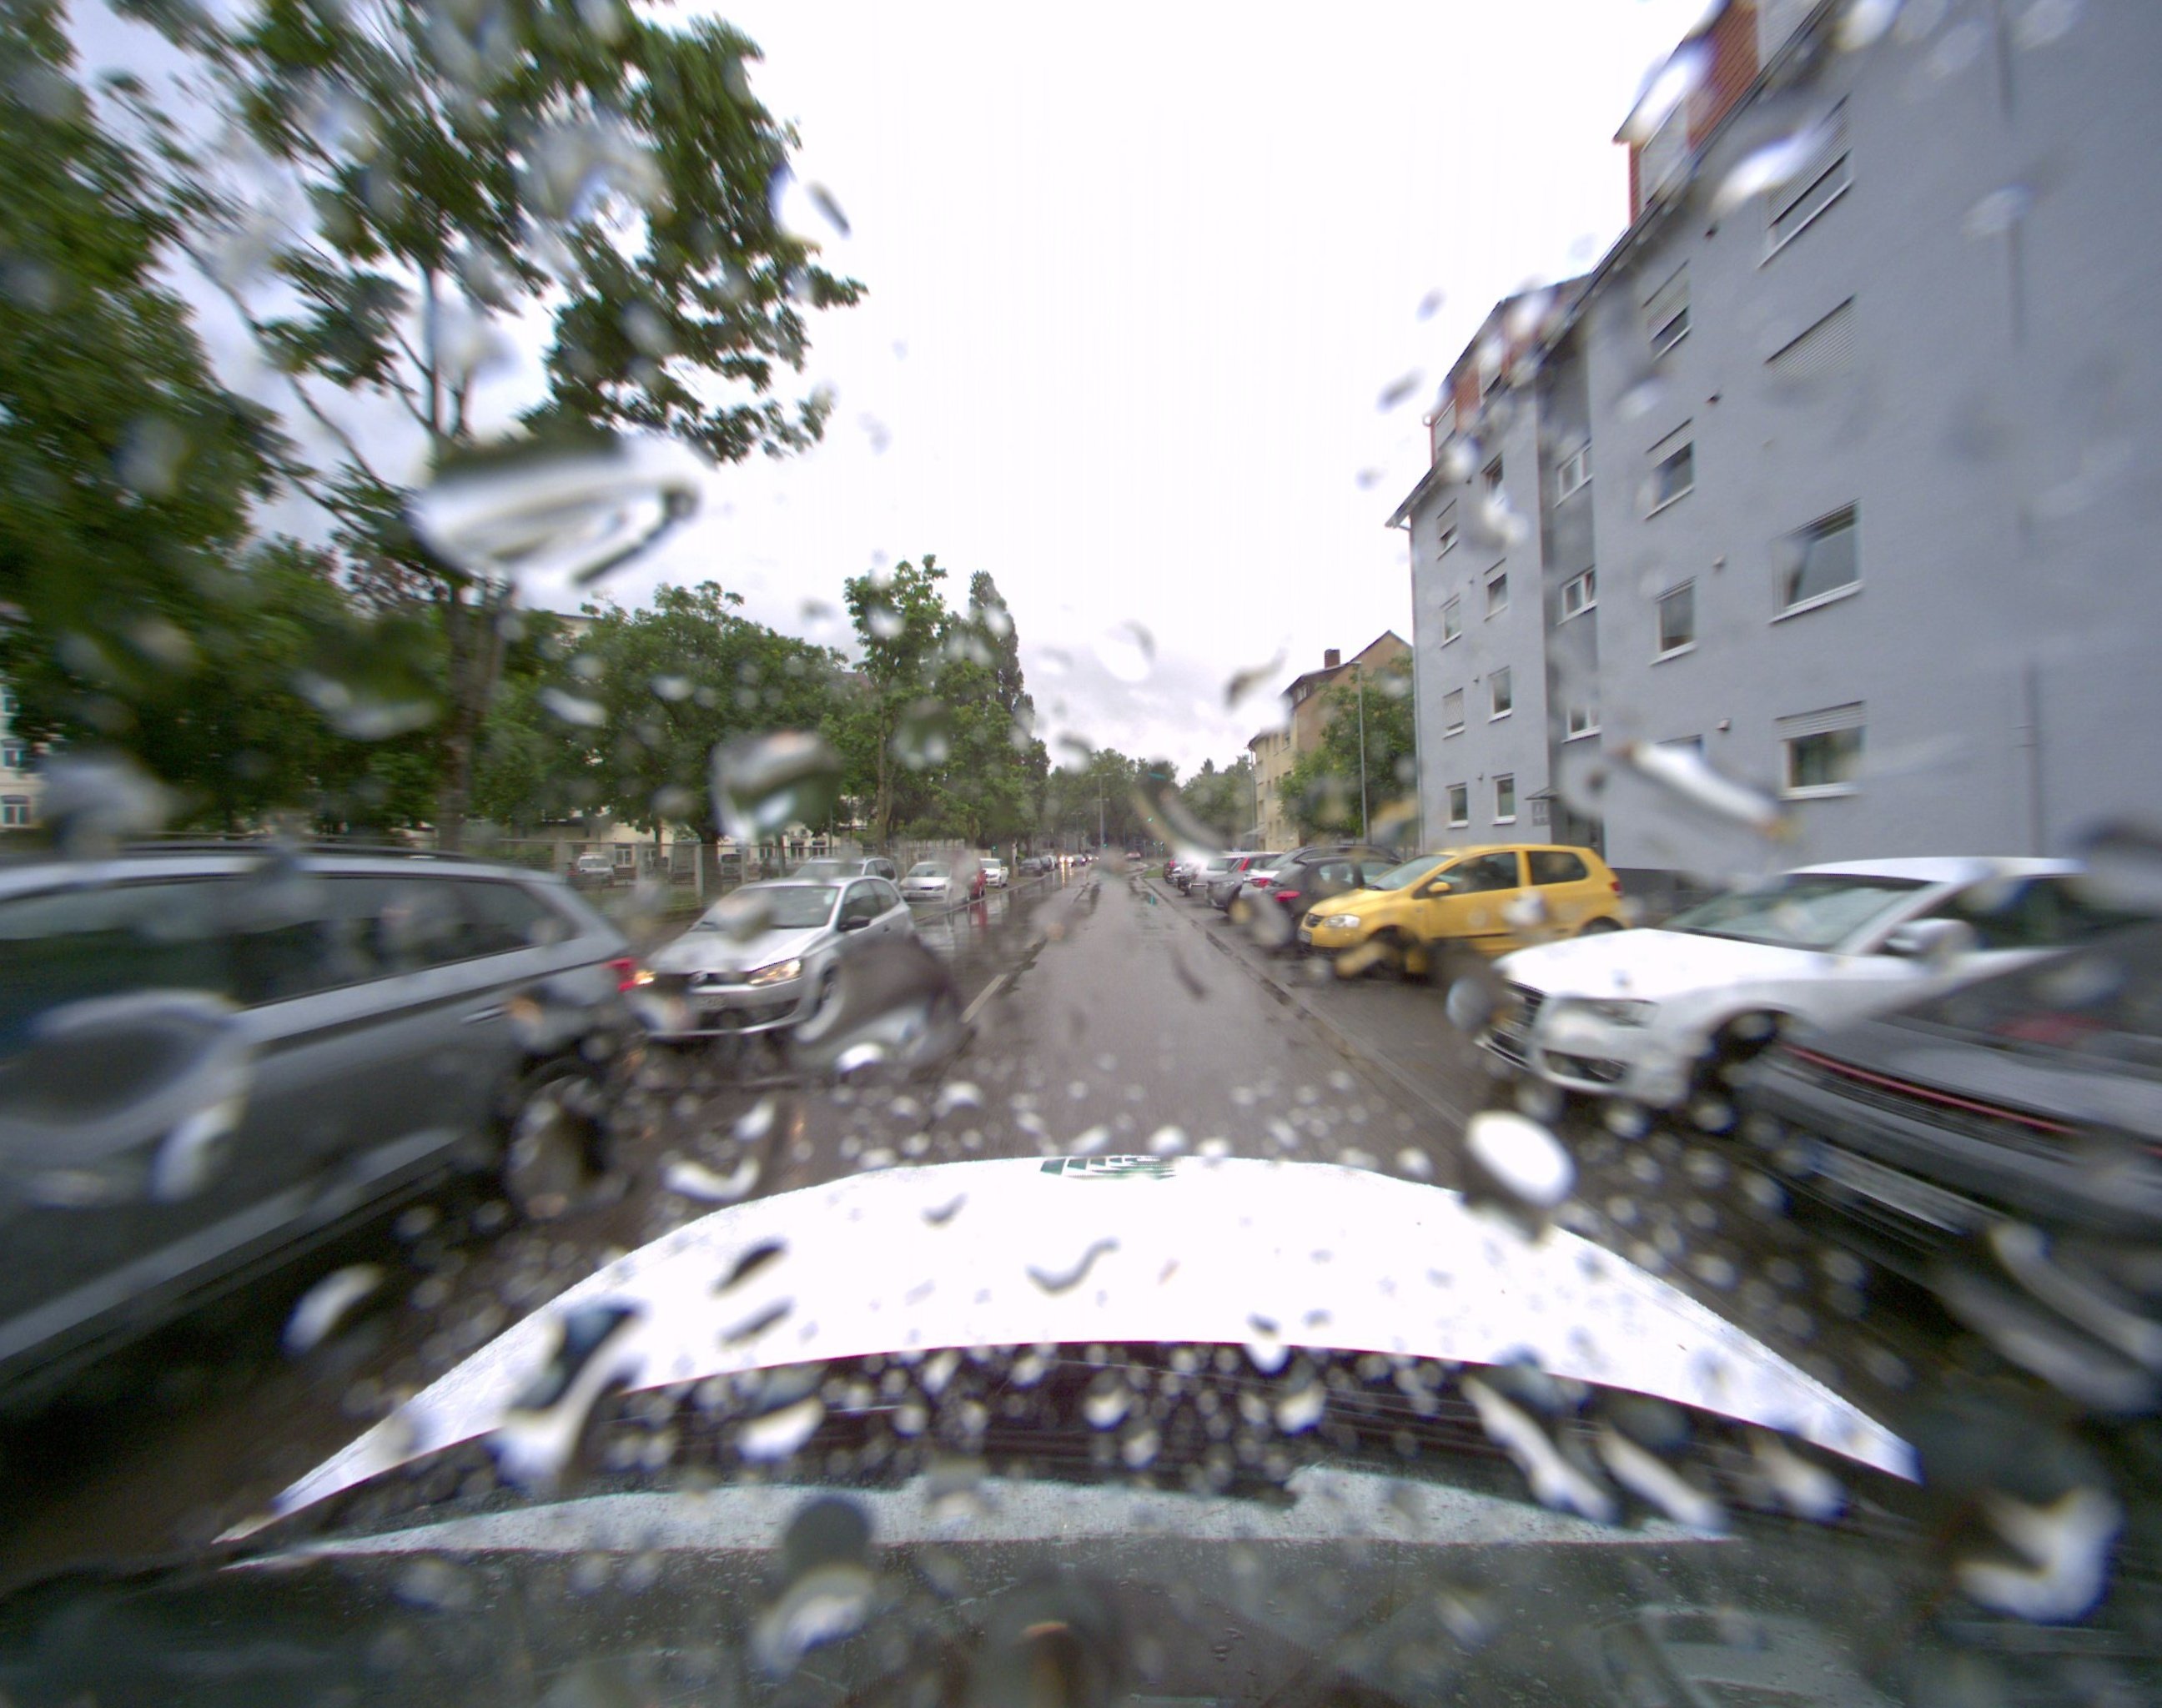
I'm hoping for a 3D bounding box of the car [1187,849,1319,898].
[{"bbox_3d":[5.438,0.608,26.148,3.969,1.474,1.805,-1,0,4],"label":"car"}]

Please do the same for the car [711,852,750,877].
[{"bbox_3d":[-20.725,0.608,48.070,1.715,1.434,3.615,0,0,-29],"label":"car"}]

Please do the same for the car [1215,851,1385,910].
[{"bbox_3d":[5.616,0.663,21.221,3.972,1.411,1.846,-1,0,1],"label":"car"}]

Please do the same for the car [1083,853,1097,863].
[{"bbox_3d":[1.432,0.656,130.539,1.739,1.689,3.990,-1,0,-7],"label":"car"}]

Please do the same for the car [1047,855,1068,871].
[{"bbox_3d":[-2.629,1.039,91.457,1.918,1.731,4.004,-1,0,4],"label":"car"}]

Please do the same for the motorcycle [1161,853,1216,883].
[{"bbox_3d":[4.994,0.651,38.007,2.393,1.324,0.918,-1,-1,-3],"label":"motorcycle"}]

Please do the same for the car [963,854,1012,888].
[{"bbox_3d":[-4.523,0.810,40.049,1.762,1.528,4.599,-1,0,1],"label":"car"}]

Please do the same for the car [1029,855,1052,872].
[{"bbox_3d":[-3.684,0.876,74.881,1.923,1.484,3.998,-2,0,-1],"label":"car"}]

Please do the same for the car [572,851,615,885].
[{"bbox_3d":[-27.021,0.764,45.131,1.942,1.785,3.960,0,0,-31],"label":"car"}]

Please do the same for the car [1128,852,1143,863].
[{"bbox_3d":[8.175,0.518,122.400,1.845,1.524,3.997,-2,0,-2],"label":"car"}]

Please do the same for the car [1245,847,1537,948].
[{"bbox_3d":[4.766,0.653,12.947,3.972,1.442,1.782,-1,0,1],"label":"car"}]

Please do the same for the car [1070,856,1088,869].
[{"bbox_3d":[-0.248,0.957,97.360,1.986,1.486,4.001,-1,0,1],"label":"car"}]

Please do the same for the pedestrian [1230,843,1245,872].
[{"bbox_3d":[11.075,0.224,57.489,1.004,2.014,0.955,-1,-1,11],"label":"pedestrian"}]

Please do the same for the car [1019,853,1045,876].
[{"bbox_3d":[-3.638,0.754,60.068,1.773,1.530,3.994,-1,1,-5],"label":"car"}]

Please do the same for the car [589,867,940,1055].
[{"bbox_3d":[-2.898,0.896,8.591,1.664,1.383,4.258,-2,0,5],"label":"car"}]

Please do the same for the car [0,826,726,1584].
[{"bbox_3d":[-3.250,0.774,2.555,1.906,1.639,4.826,-1,0,3],"label":"car"}]

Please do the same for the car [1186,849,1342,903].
[{"bbox_3d":[5.200,0.606,23.651,4.246,1.454,1.988,-1,1,7],"label":"car"}]

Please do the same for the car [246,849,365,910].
[{"bbox_3d":[-22.093,0.709,23.369,2.009,1.557,3.955,-1,-1,-37],"label":"car"}]

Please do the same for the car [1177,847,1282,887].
[{"bbox_3d":[6.061,0.519,33.520,3.974,1.552,1.905,-1,0,0],"label":"car"}]

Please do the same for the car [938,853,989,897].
[{"bbox_3d":[-4.506,0.779,31.725,1.621,1.598,4.196,-1,0,-4],"label":"car"}]

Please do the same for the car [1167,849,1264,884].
[{"bbox_3d":[5.920,0.540,36.077,3.976,1.490,1.861,-1,0,-2],"label":"car"}]

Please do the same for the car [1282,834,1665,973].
[{"bbox_3d":[4.762,0.574,10.336,3.974,1.552,1.853,-1,0,0],"label":"car"}]

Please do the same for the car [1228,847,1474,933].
[{"bbox_3d":[4.982,0.646,15.550,4.080,1.458,2.002,-1,0,3],"label":"car"}]

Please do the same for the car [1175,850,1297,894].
[{"bbox_3d":[5.349,0.611,28.425,3.972,1.466,1.782,-1,0,2],"label":"car"}]

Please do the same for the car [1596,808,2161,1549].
[{"bbox_3d":[4.252,0.631,2.451,4.128,1.486,2.013,-1,0,1],"label":"car"}]

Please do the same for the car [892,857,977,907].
[{"bbox_3d":[-4.627,0.844,26.354,1.653,1.460,4.179,-1,0,5],"label":"car"}]

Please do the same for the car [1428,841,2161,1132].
[{"bbox_3d":[4.877,0.666,5.058,4.608,1.436,2.002,-1,0,3],"label":"car"}]

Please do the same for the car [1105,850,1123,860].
[{"bbox_3d":[5.511,0.157,137.024,1.853,1.524,4.132,-1,0,-15],"label":"car"}]

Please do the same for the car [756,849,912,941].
[{"bbox_3d":[-5.071,0.754,17.446,1.769,1.680,4.603,1,0,2],"label":"car"}]

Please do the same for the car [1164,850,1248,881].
[{"bbox_3d":[6.227,0.559,40.857,3.971,1.461,1.936,-1,0,2],"label":"car"}]

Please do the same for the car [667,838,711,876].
[{"bbox_3d":[-22.656,0.191,47.015,2.006,2.122,3.961,0,0,-30],"label":"car"}]

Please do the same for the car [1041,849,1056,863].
[{"bbox_3d":[-7.486,0.513,185.939,2.227,3.237,4.640,0,0,-19],"label":"car"}]

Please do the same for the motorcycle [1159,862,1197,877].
[{"bbox_3d":[5.405,0.879,45.502,2.061,0.792,0.712,-1,0,8],"label":"motorcycle"}]

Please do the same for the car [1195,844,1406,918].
[{"bbox_3d":[4.897,0.590,18.692,4.325,1.552,2.040,-1,0,1],"label":"car"}]

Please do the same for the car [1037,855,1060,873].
[{"bbox_3d":[-3.203,0.995,81.189,1.918,1.731,4.004,-1,0,4],"label":"car"}]

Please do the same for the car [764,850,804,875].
[{"bbox_3d":[-18.186,0.511,49.846,1.715,1.434,3.615,0,0,-29],"label":"car"}]
